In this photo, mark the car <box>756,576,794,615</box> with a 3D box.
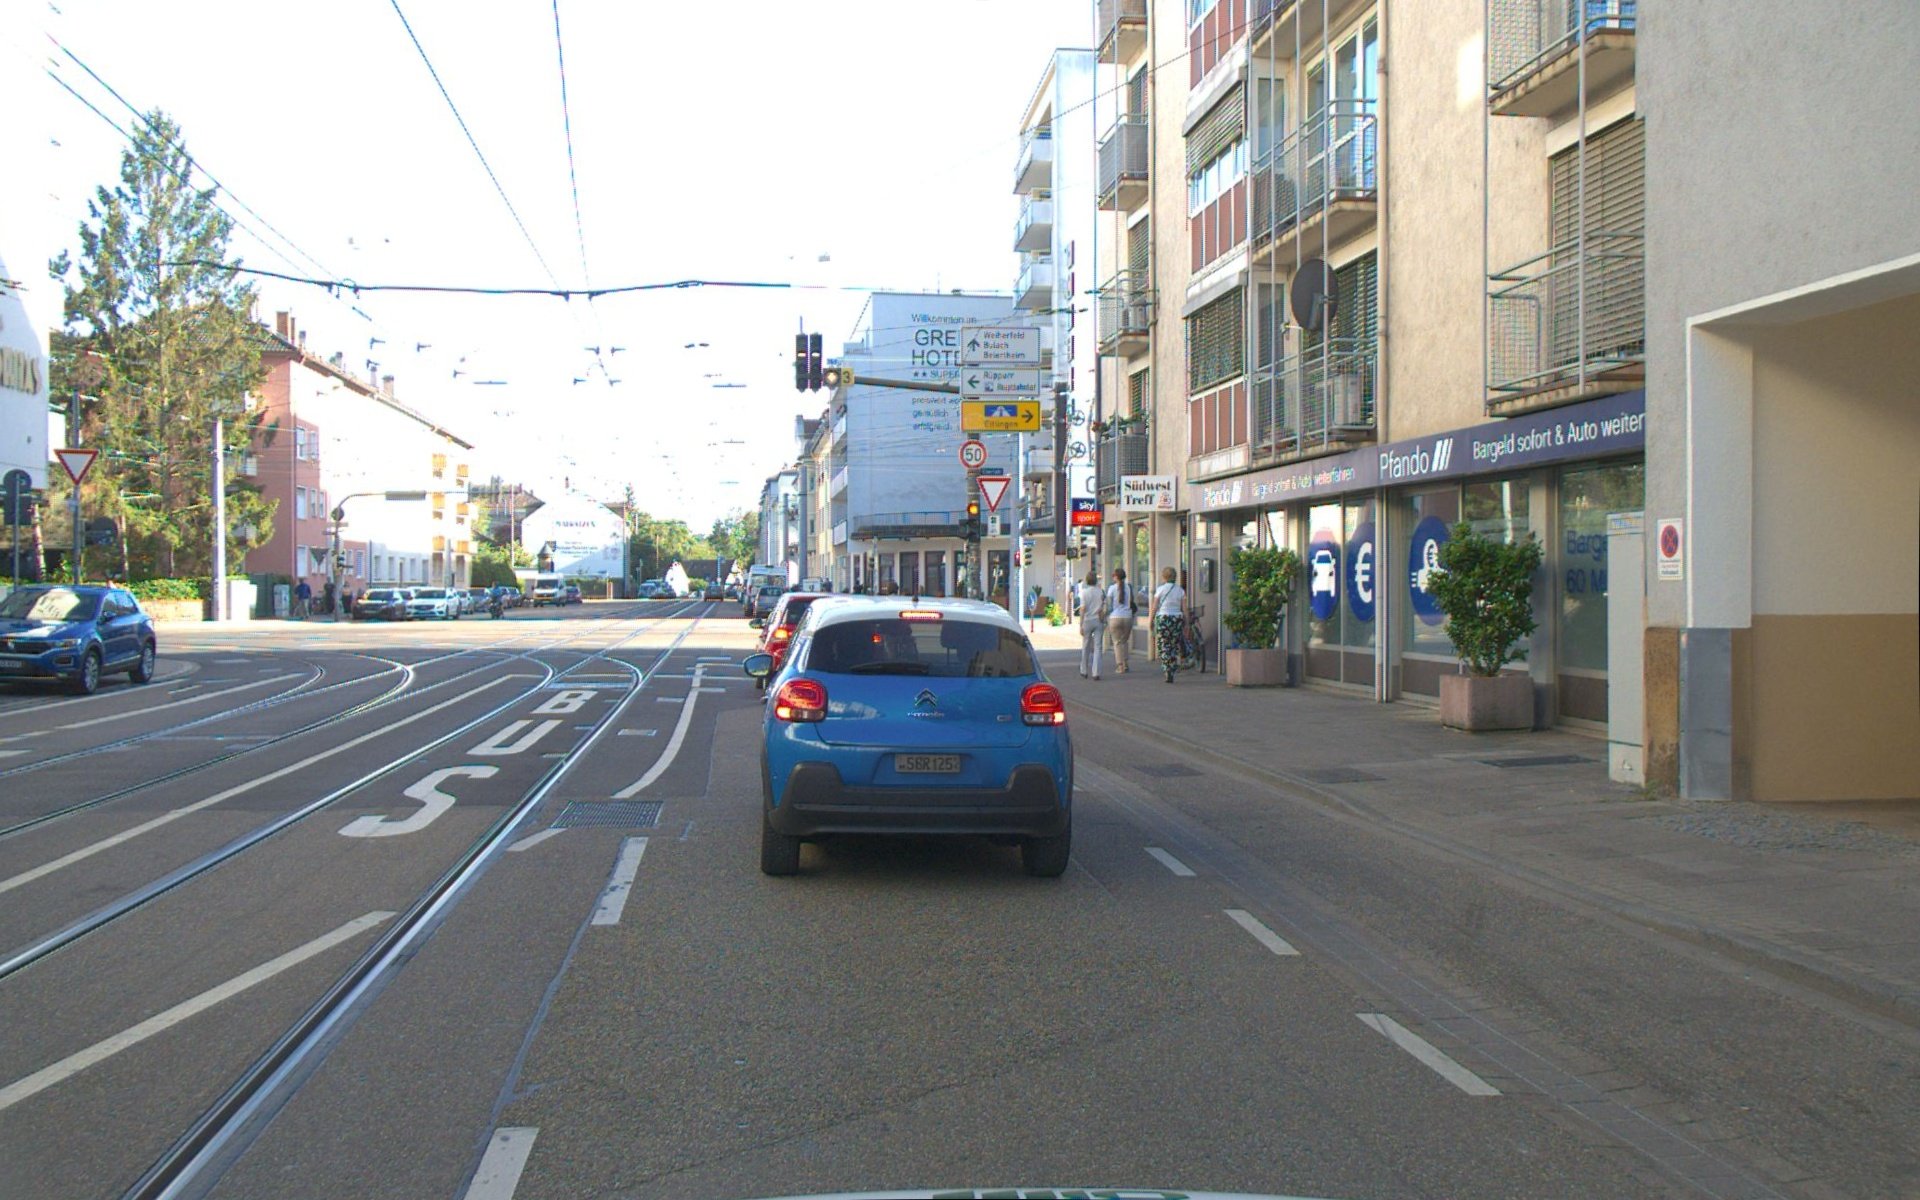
[{"bbox_3d":[-8.699,-0.207,77.583,1.700,1.780,3.208,1,0,-8],"label":"car"}]

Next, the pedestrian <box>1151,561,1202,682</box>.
[{"bbox_3d":[3.122,0.302,23.897,0.531,1.701,0.649,-2,1,-7],"label":"pedestrian"}]

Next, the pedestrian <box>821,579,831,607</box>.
[{"bbox_3d":[-7.656,-0.393,94.786,0.483,1.583,0.646,0,0,-13],"label":"pedestrian"}]

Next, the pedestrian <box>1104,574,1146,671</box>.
[{"bbox_3d":[2.675,0.360,26.855,0.531,1.534,0.610,-2,2,-7],"label":"pedestrian"}]

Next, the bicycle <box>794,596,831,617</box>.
[{"bbox_3d":[-7.005,0.319,78.619,1.686,0.973,0.701,0,0,-4],"label":"bicycle"}]

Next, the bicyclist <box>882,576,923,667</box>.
[{"bbox_3d":[-1.081,0.392,30.877,0.712,1.674,0.789,0,0,-5],"label":"bicyclist"}]

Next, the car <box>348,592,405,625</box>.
[{"bbox_3d":[-27.204,0.370,77.194,1.876,1.458,3.990,0,1,-10],"label":"car"}]

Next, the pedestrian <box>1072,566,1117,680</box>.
[{"bbox_3d":[2.067,0.338,25.480,0.531,1.701,0.623,-2,2,-7],"label":"pedestrian"}]

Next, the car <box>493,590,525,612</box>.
[{"bbox_3d":[-33.861,0.030,124.145,1.835,1.601,3.993,0,0,-8],"label":"car"}]

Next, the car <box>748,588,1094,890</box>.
[{"bbox_3d":[-0.241,0.690,10.299,1.708,1.488,3.999,1,0,-1],"label":"car"}]

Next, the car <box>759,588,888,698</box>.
[{"bbox_3d":[-1.987,0.559,24.075,1.704,1.445,3.996,0,1,-5],"label":"car"}]

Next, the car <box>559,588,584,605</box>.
[{"bbox_3d":[-35.809,-0.342,152.547,1.984,1.552,3.992,0,1,-9],"label":"car"}]

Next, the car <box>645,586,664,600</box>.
[{"bbox_3d":[-35.954,-0.823,194.799,1.984,1.552,3.992,0,1,-9],"label":"car"}]

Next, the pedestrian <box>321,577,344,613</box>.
[{"bbox_3d":[-29.837,-0.254,78.700,0.827,1.720,0.737,0,0,-2],"label":"pedestrian"}]

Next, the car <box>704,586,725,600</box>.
[{"bbox_3d":[-22.469,-0.614,151.452,1.724,1.281,3.821,0,1,-12],"label":"car"}]

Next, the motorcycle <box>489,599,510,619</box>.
[{"bbox_3d":[-21.217,0.400,76.231,0.603,0.879,1.669,0,1,-5],"label":"motorcycle"}]

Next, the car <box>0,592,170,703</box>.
[{"bbox_3d":[-13.649,0.670,25.279,1.712,1.536,3.992,1,0,-9],"label":"car"}]

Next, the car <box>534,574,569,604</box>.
[{"bbox_3d":[-31.464,-0.838,127.473,2.166,2.290,4.668,0,1,-9],"label":"car"}]

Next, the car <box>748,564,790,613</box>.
[{"bbox_3d":[-9.531,-0.574,82.439,1.956,2.366,3.993,1,0,-8],"label":"car"}]

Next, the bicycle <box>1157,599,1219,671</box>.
[{"bbox_3d":[3.666,0.546,26.724,0.520,1.091,1.808,0,0,-8],"label":"bicycle"}]

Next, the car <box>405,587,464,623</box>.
[{"bbox_3d":[-24.234,0.228,76.359,1.814,1.601,4.394,0,0,-7],"label":"car"}]

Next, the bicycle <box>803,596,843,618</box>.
[{"bbox_3d":[-6.378,0.325,77.312,1.836,0.973,0.701,0,0,-4],"label":"bicycle"}]

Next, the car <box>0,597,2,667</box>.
[{"bbox_3d":[-13.053,0.707,19.295,1.667,1.536,4.304,1,0,-7],"label":"car"}]

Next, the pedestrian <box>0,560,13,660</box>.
[{"bbox_3d":[-20.020,0.208,34.152,0.674,2.049,0.485,0,0,-11],"label":"pedestrian"}]

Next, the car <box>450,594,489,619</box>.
[{"bbox_3d":[-31.341,0.389,105.818,1.875,1.523,3.992,0,1,-9],"label":"car"}]

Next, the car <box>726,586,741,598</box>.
[{"bbox_3d":[-34.637,-1.299,253.010,1.955,1.825,3.996,0,0,-5],"label":"car"}]

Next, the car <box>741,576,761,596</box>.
[{"bbox_3d":[-17.791,-1.179,141.058,1.657,1.646,3.994,1,0,-7],"label":"car"}]

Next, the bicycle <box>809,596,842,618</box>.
[{"bbox_3d":[-6.200,0.330,76.265,1.474,0.973,0.701,0,0,-4],"label":"bicycle"}]

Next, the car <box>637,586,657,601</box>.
[{"bbox_3d":[-33.570,-0.728,177.569,1.984,1.552,3.992,0,1,-9],"label":"car"}]

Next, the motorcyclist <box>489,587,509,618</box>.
[{"bbox_3d":[-21.195,0.108,76.077,0.705,1.402,0.910,0,0,-5],"label":"motorcyclist"}]

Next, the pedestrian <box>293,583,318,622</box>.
[{"bbox_3d":[-28.841,0.108,72.917,0.827,1.720,0.737,0,0,-2],"label":"pedestrian"}]

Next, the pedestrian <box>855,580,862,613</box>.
[{"bbox_3d":[-4.948,-0.179,80.543,0.279,1.583,0.304,0,0,-14],"label":"pedestrian"}]

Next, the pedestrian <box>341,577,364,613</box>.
[{"bbox_3d":[-28.987,-0.242,78.885,0.827,1.720,0.737,0,0,-2],"label":"pedestrian"}]
